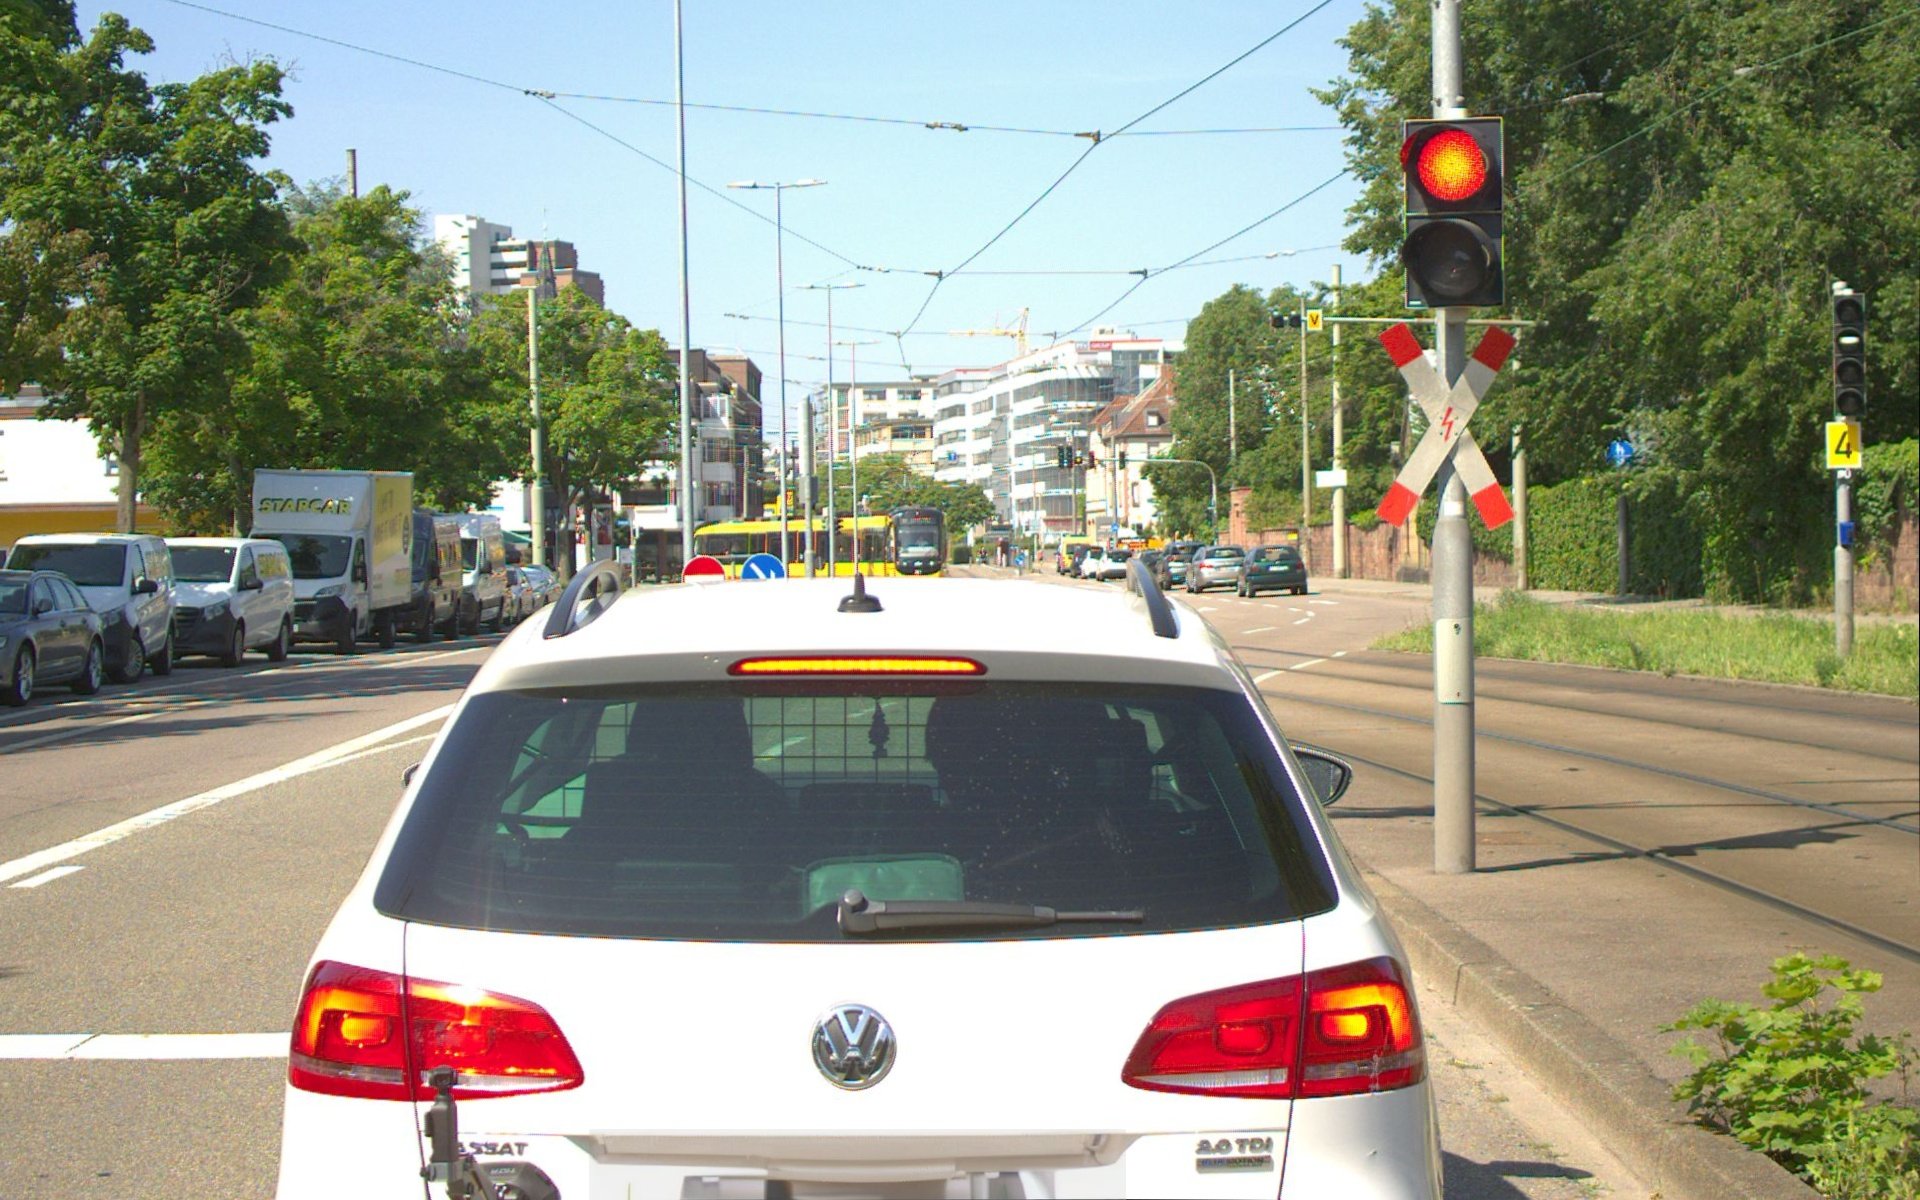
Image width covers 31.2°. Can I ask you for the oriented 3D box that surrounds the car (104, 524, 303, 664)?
[{"bbox_3d":[-11.358,-0.135,51.950,1.843,1.954,5.134,-1,1,0],"label":"car"}]

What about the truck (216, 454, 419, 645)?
[{"bbox_3d":[-11.171,-0.899,60.310,2.356,3.112,6.892,-1,1,-1],"label":"truck"}]

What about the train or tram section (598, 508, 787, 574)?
[{"bbox_3d":[-13.652,-3.042,174.607,10.796,3.241,2.304,1,0,38],"label":"train or tram section"}]

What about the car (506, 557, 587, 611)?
[{"bbox_3d":[-11.599,-0.461,96.604,1.780,1.428,4.038,-1,1,-1],"label":"car"}]

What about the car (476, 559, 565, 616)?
[{"bbox_3d":[-11.677,-0.353,91.569,1.843,1.428,4.038,-1,1,-1],"label":"car"}]

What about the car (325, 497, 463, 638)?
[{"bbox_3d":[-11.163,-0.668,68.118,1.843,2.659,5.003,-1,1,0],"label":"car"}]

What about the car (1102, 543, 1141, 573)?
[{"bbox_3d":[7.373,-1.905,157.232,1.581,1.341,3.454,1,0,-1],"label":"car"}]

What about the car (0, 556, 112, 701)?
[{"bbox_3d":[-10.999,0.300,38.753,1.843,1.511,4.197,-1,1,-1],"label":"car"}]

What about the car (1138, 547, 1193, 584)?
[{"bbox_3d":[8.173,-1.391,137.115,1.745,1.403,3.914,1,1,-3],"label":"car"}]

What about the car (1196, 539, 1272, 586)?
[{"bbox_3d":[8.566,-1.198,107.678,1.861,1.412,4.325,1,1,-2],"label":"car"}]

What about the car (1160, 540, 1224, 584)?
[{"bbox_3d":[8.212,-1.357,121.961,1.861,1.508,3.913,1,1,-2],"label":"car"}]

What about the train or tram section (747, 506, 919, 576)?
[{"bbox_3d":[-6.267,-2.868,167.343,2.302,3.241,10.804,1,0,-39],"label":"train or tram section"}]

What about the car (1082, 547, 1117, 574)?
[{"bbox_3d":[7.134,-2.016,175.659,1.581,1.341,3.454,1,0,-1],"label":"car"}]

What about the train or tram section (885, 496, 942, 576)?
[{"bbox_3d":[-1.947,-2.687,147.790,2.301,3.241,11.275,1,0,0],"label":"train or tram section"}]

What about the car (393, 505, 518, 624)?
[{"bbox_3d":[-11.079,-0.810,75.852,1.843,2.486,5.857,-1,1,0],"label":"car"}]

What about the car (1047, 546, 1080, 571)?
[{"bbox_3d":[6.708,-2.675,224.062,1.993,1.590,4.000,1,0,0],"label":"car"}]

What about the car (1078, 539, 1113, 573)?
[{"bbox_3d":[7.413,-2.395,188.361,1.691,1.806,3.454,1,0,-1],"label":"car"}]

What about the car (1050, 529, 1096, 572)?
[{"bbox_3d":[6.810,-2.960,207.985,2.463,2.490,5.910,1,0,-1],"label":"car"}]

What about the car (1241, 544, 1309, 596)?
[{"bbox_3d":[8.636,-0.838,94.371,1.746,1.383,3.913,1,1,4],"label":"car"}]

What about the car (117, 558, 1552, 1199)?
[{"bbox_3d":[-0.209,0.673,6.227,1.768,1.441,3.913,1,1,-1],"label":"car"}]

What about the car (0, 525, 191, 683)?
[{"bbox_3d":[-11.492,0.008,45.373,1.843,1.930,5.195,-1,1,-4],"label":"car"}]
